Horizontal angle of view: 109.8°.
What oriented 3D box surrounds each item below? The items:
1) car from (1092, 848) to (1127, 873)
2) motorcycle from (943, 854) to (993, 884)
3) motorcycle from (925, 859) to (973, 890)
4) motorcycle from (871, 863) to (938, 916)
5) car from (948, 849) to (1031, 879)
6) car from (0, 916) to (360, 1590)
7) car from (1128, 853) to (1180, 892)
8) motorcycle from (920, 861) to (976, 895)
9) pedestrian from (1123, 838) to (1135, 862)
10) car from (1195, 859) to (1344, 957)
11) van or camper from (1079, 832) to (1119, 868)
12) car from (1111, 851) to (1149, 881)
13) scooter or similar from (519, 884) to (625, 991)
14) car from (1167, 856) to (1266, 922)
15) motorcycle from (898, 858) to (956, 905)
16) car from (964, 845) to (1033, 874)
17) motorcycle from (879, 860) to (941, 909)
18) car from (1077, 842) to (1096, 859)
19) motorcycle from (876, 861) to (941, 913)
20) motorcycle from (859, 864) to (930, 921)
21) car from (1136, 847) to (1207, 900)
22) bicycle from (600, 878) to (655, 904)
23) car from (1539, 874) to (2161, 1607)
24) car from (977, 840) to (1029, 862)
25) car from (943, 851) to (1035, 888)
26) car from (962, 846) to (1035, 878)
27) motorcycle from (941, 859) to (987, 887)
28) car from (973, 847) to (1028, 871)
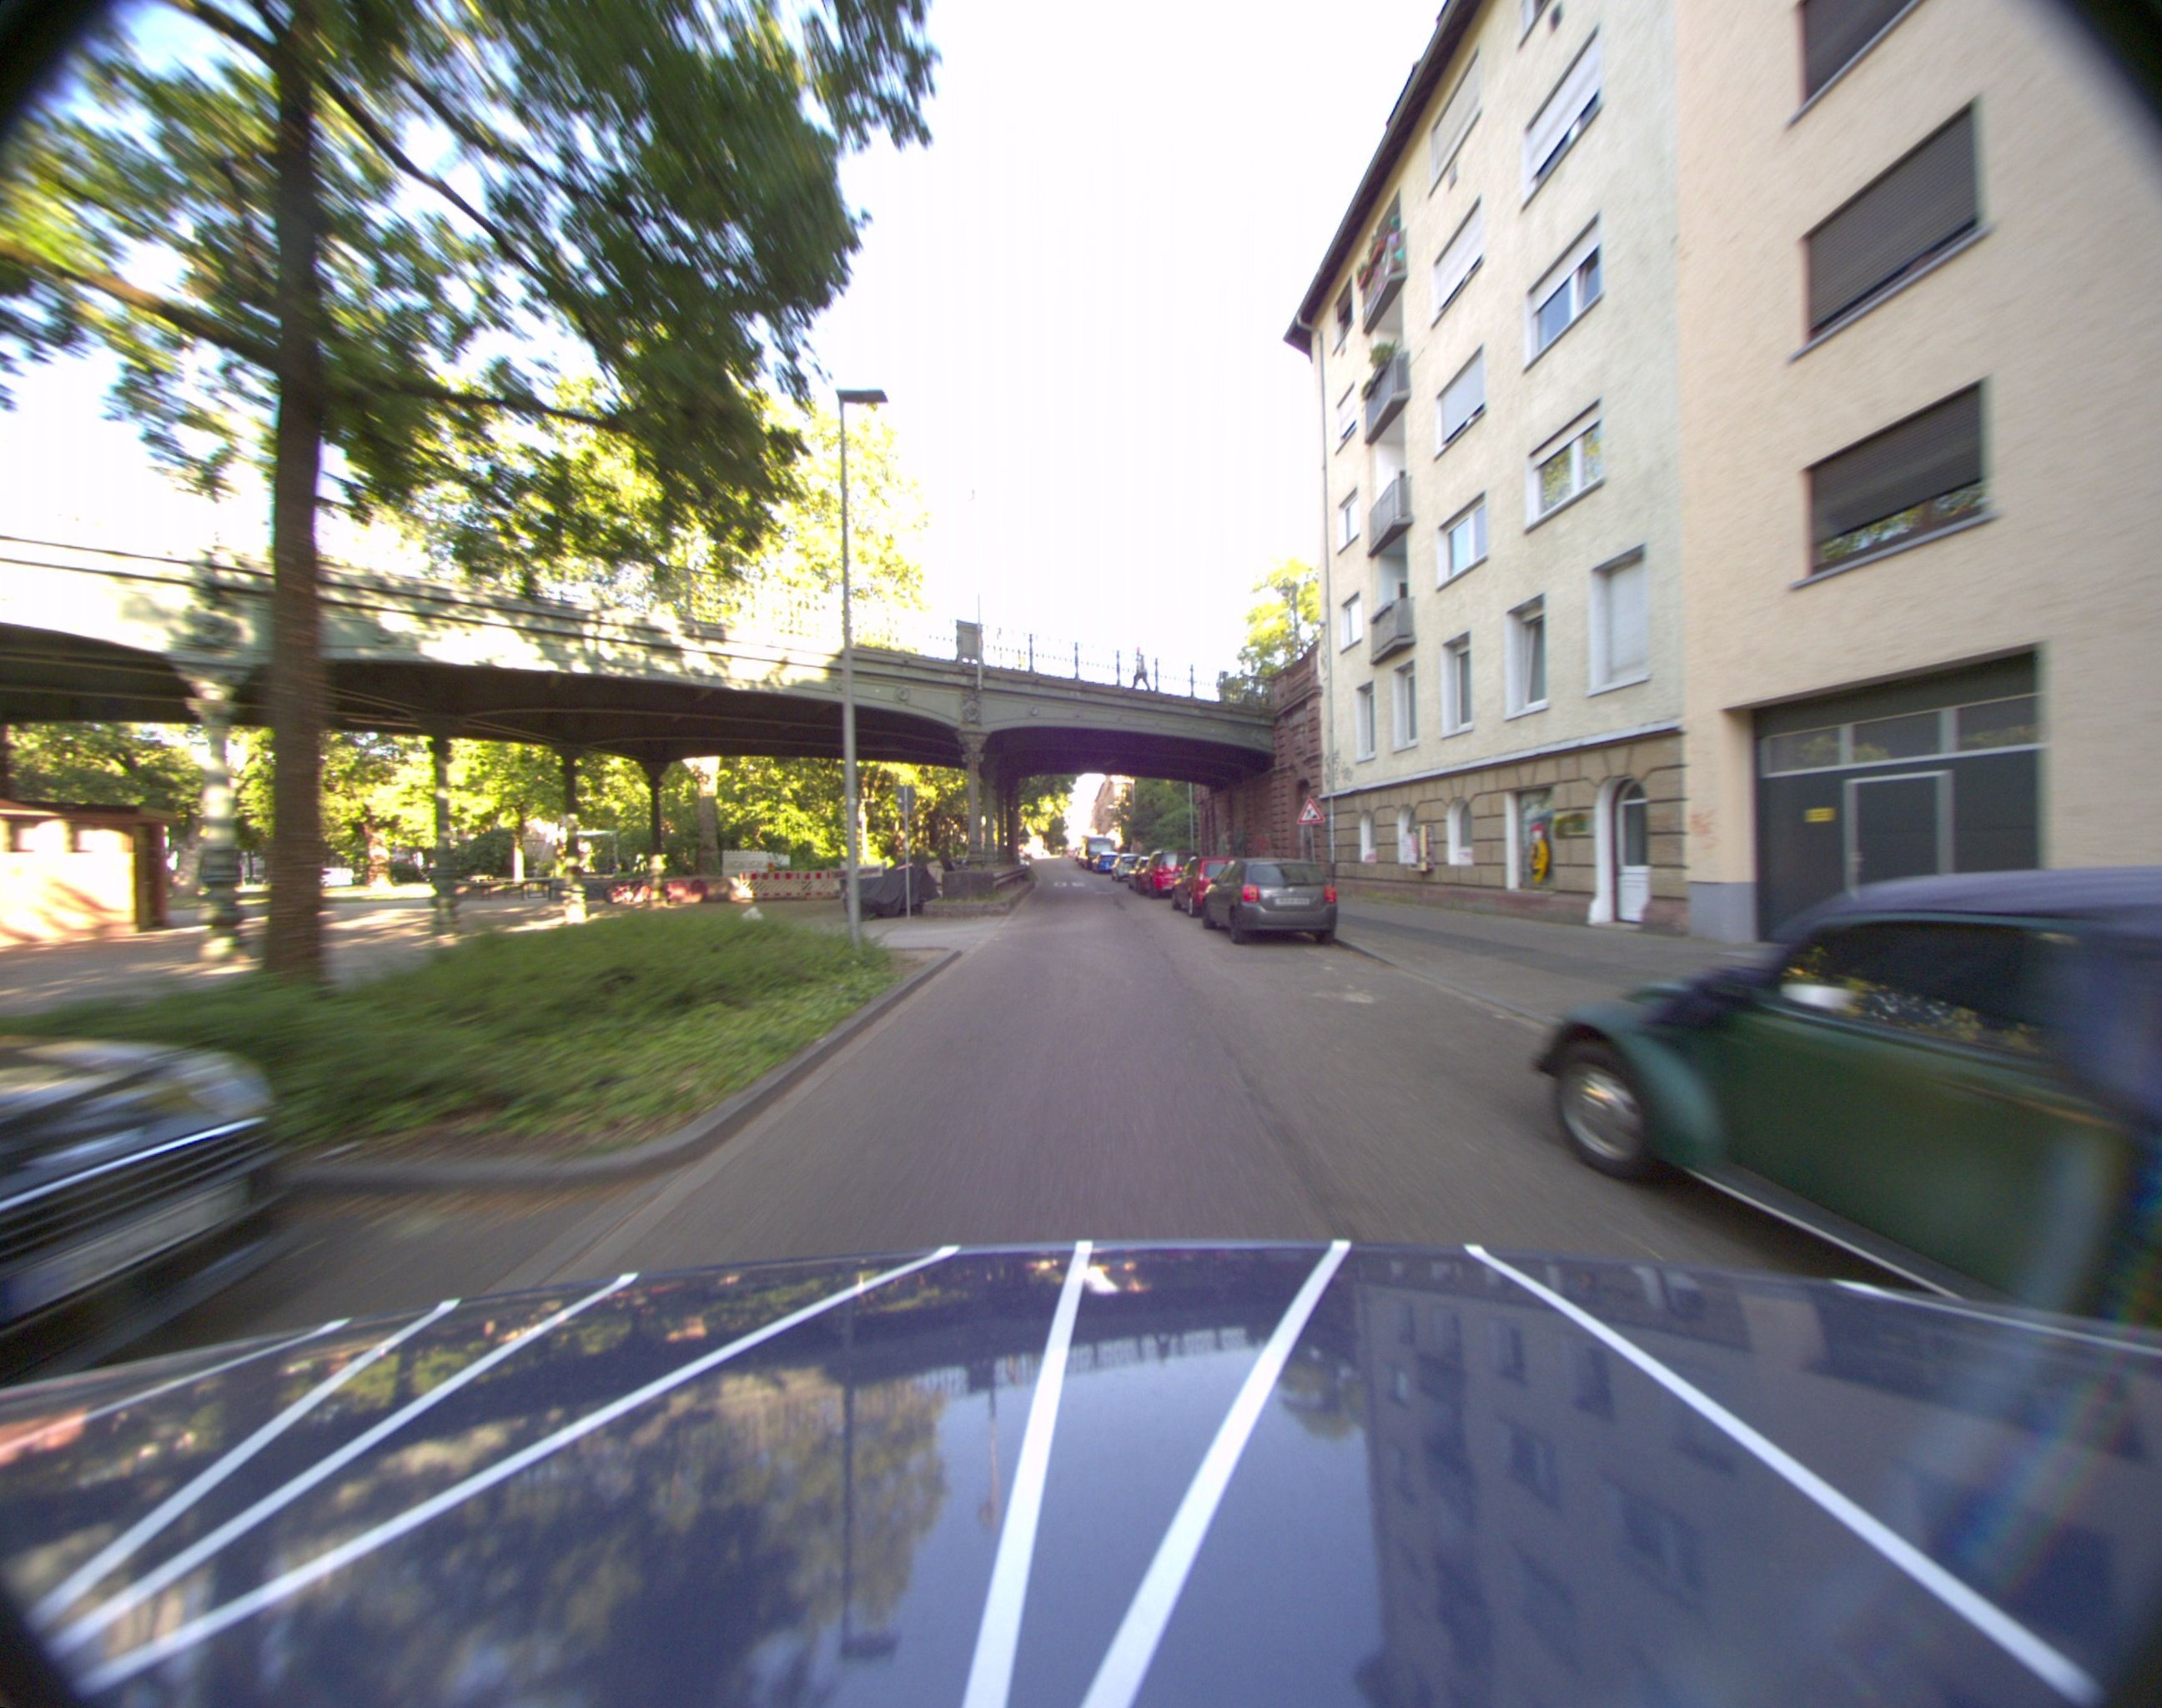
[{"bbox_3d":[1.918,0.391,52.242,1.750,1.458,4.372,-3,2,-6],"label":"car"},{"bbox_3d":[-5.047,0.649,33.980,1.938,1.231,0.902,-4,3,-27],"label":"motorcycle"},{"bbox_3d":[-5.303,0.811,30.586,1.729,1.126,0.710,-4,3,-36],"label":"motorcycle"},{"bbox_3d":[-4.892,0.980,21.073,1.602,1.400,0.713,-2,3,18],"label":"motorcycle"},{"bbox_3d":[-5.361,0.597,44.960,4.597,1.597,1.734,-1,2,2],"label":"car"},{"bbox_3d":[-4.425,1.002,1.717,3.793,1.464,1.634,-1,2,-6],"label":"car"},{"bbox_3d":[3.024,0.731,32.184,1.721,1.455,3.999,0,1,-1],"label":"car"},{"bbox_3d":[-4.947,0.875,28.248,1.839,1.126,0.849,-3,3,-25],"label":"motorcycle"},{"bbox_3d":[3.881,-0.313,61.398,0.639,1.904,1.046,-3,2,-8],"label":"pedestrian"},{"bbox_3d":[3.288,0.873,14.041,1.641,1.458,3.999,1,1,-1],"label":"car"},{"bbox_3d":[1.278,-0.410,58.527,2.242,2.509,6.416,-3,2,-5],"label":"van or camper"},{"bbox_3d":[2.699,0.622,42.728,1.599,1.538,3.912,0,1,-5],"label":"car"},{"bbox_3d":[-7.049,1.119,10.594,0.478,1.291,1.325,-2,2,1],"label":"scooter or similar"},{"bbox_3d":[3.333,0.800,19.365,1.694,1.433,3.999,-1,1,-2],"label":"car"},{"bbox_3d":[-4.849,0.880,23.954,1.602,1.400,0.713,-2,3,18],"label":"motorcycle"},{"bbox_3d":[-5.673,0.365,52.736,4.545,1.686,1.906,-3,2,-4],"label":"car"},{"bbox_3d":[-5.174,0.925,23.033,1.602,1.400,0.713,-2,3,18],"label":"motorcycle"},{"bbox_3d":[0.503,-0.405,72.736,1.703,1.489,4.547,0,2,0],"label":"car"},{"bbox_3d":[-4.977,0.954,21.939,1.602,1.400,0.713,-2,3,18],"label":"motorcycle"},{"bbox_3d":[-4.914,1.015,20.060,1.602,1.400,0.713,-2,3,18],"label":"motorcycle"},{"bbox_3d":[3.113,0.627,26.898,1.722,1.698,4.320,0,1,-4],"label":"car"},{"bbox_3d":[-15.785,1.285,26.440,1.618,0.853,0.522,1,0,-33],"label":"bicycle"},{"bbox_3d":[3.149,0.885,2.014,1.571,1.509,3.781,-1,1,0],"label":"car"},{"bbox_3d":[-7.112,-0.247,69.953,4.684,1.914,1.871,1,2,-4],"label":"car"},{"bbox_3d":[-4.511,0.751,37.878,4.387,1.569,1.673,-3,2,-4],"label":"car"},{"bbox_3d":[-5.188,0.494,47.681,4.387,1.699,1.905,-3,2,-6],"label":"car"},{"bbox_3d":[-4.962,0.789,32.295,1.729,1.024,0.810,-4,3,-36],"label":"motorcycle"},{"bbox_3d":[-6.034,0.331,57.390,4.032,1.565,1.586,-3,2,-4],"label":"car"}]
